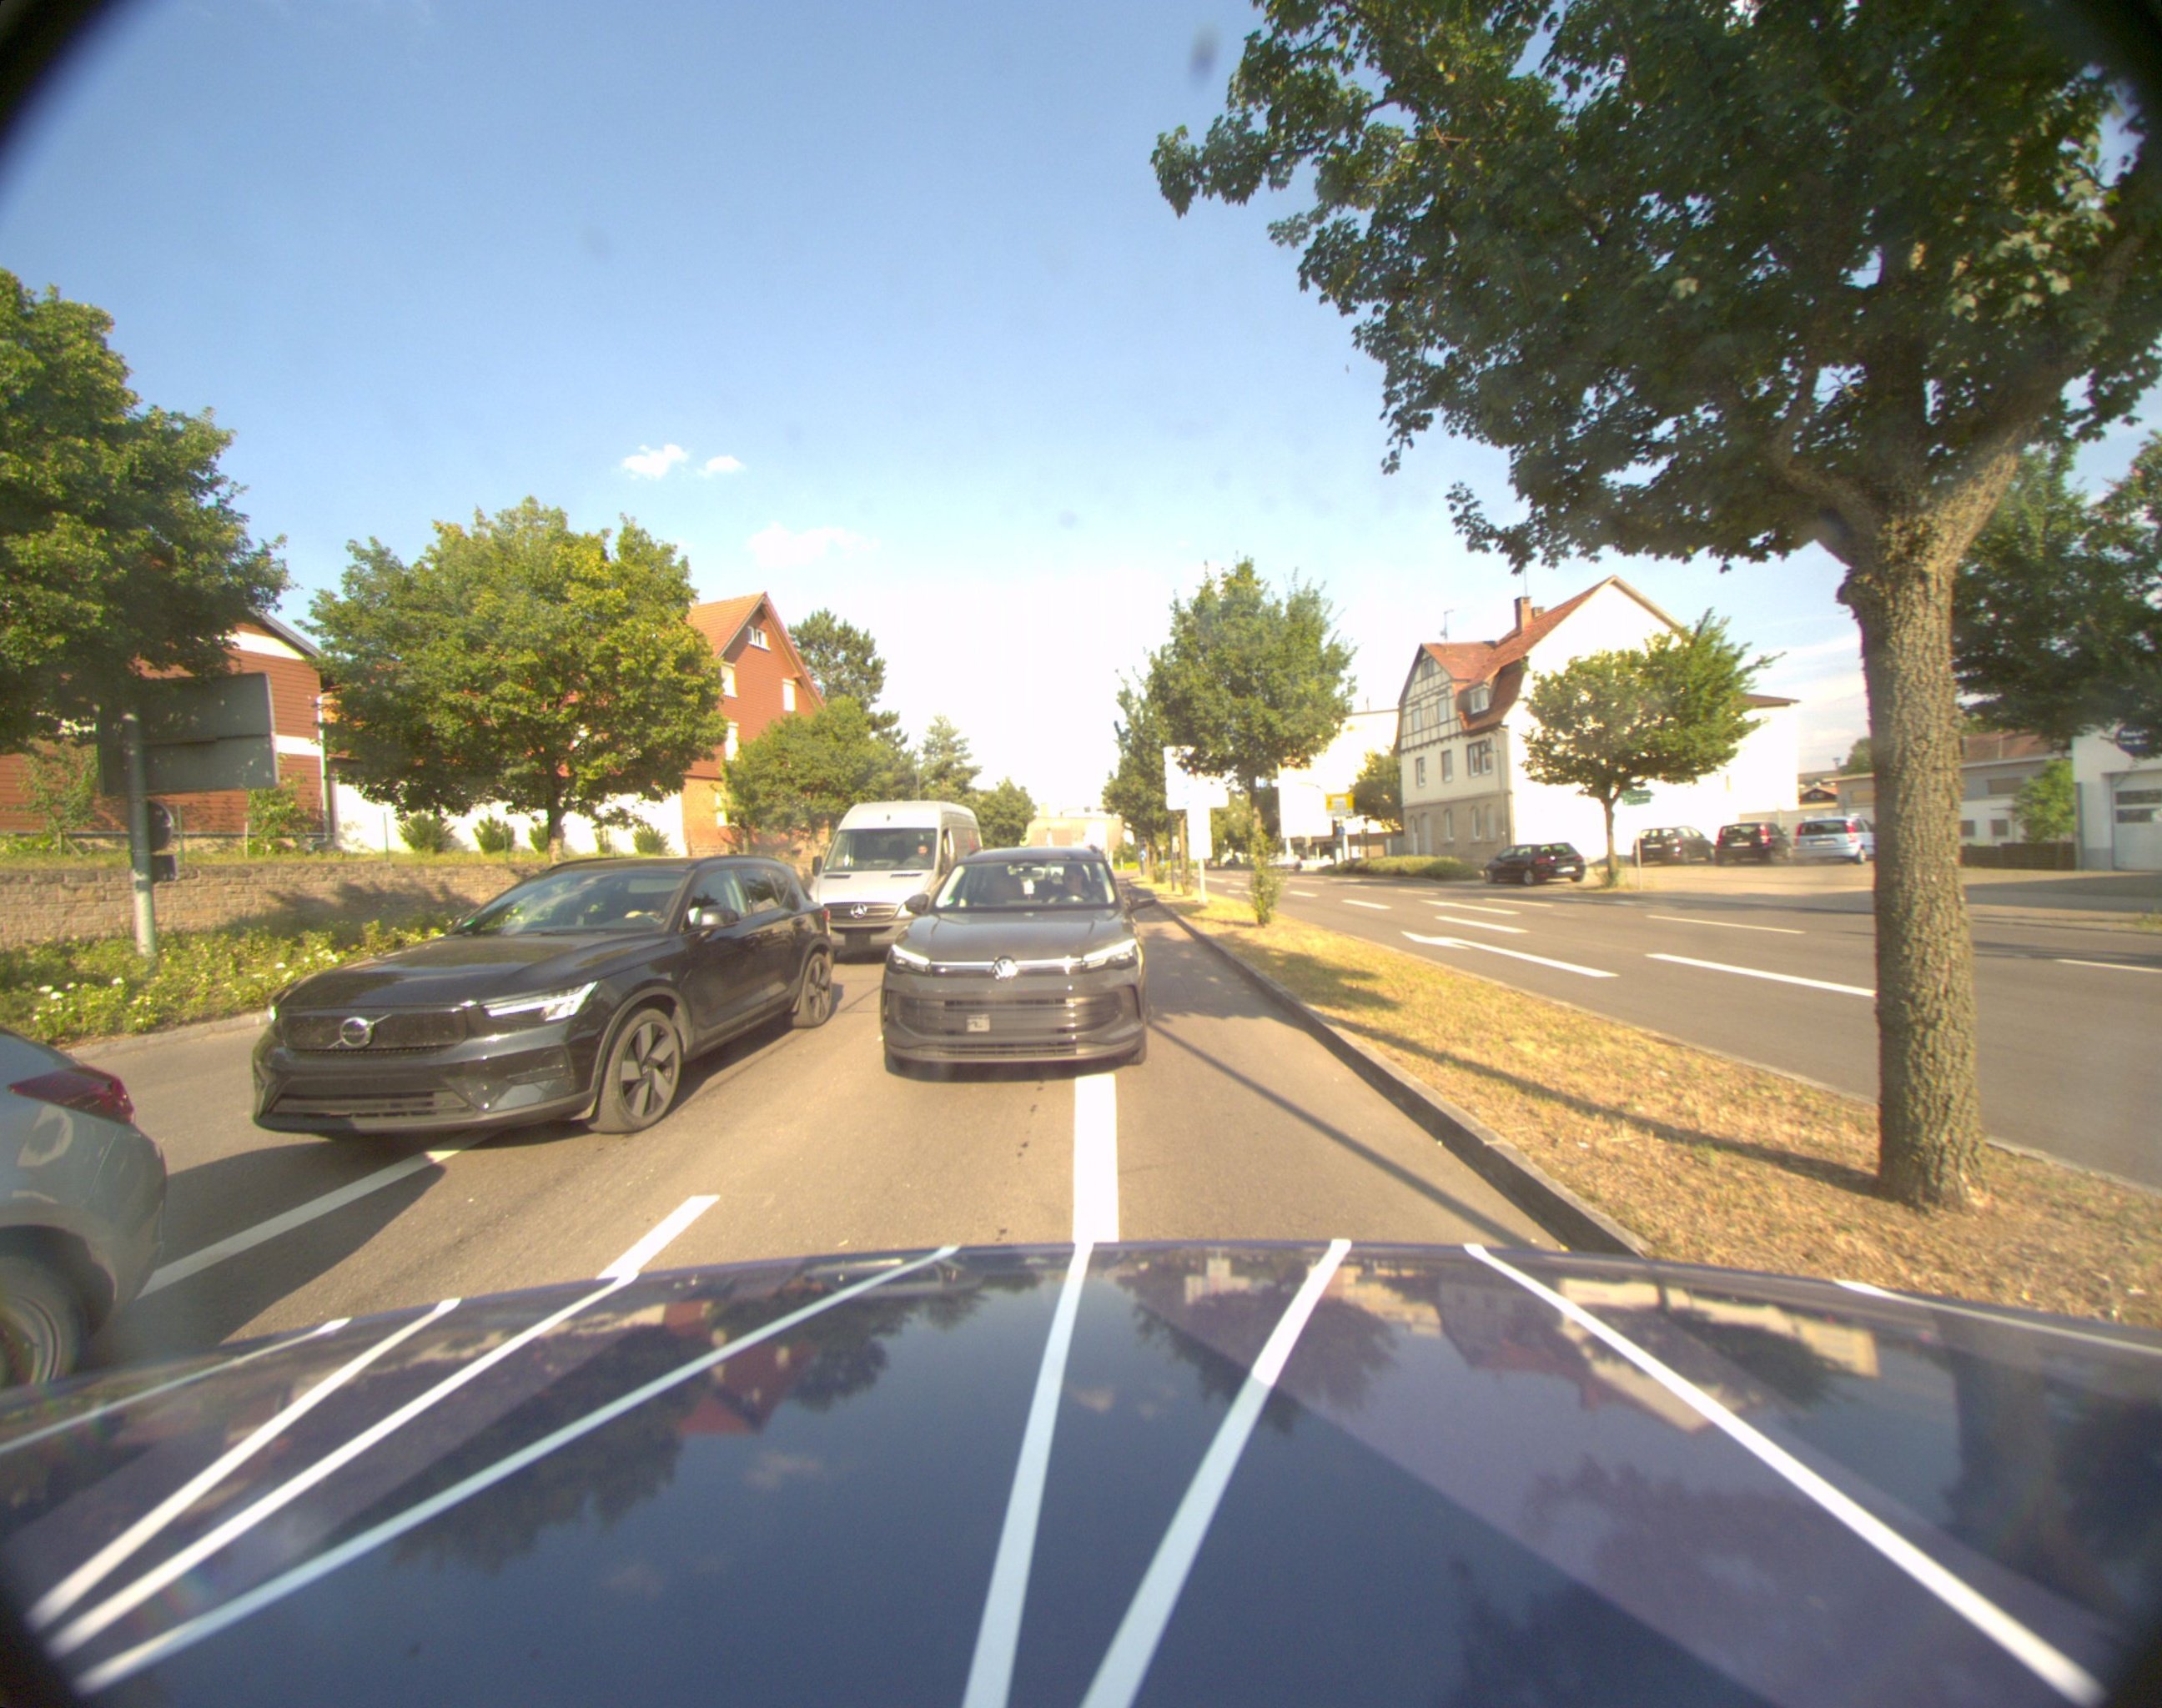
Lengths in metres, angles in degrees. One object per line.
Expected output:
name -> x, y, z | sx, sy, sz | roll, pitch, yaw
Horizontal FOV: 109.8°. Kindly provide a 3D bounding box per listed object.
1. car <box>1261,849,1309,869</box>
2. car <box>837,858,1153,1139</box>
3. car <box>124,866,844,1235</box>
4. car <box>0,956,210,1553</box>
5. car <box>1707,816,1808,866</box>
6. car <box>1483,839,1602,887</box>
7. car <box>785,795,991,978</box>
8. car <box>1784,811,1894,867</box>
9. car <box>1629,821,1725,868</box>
car -> 18.573, 0.470, 69.225 | 3.994, 1.622, 1.861 | -2, 0, 9
car -> -0.451, 0.872, 6.638 | 1.845, 1.600, 4.318 | -1, 0, 2
car -> -3.421, 0.949, 5.652 | 1.845, 1.600, 4.318 | -1, 0, 2
car -> -3.613, 1.059, 0.202 | 1.766, 1.445, 4.318 | -1, 0, 0
car -> 24.660, -0.483, 27.674 | 3.830, 1.493, 1.816 | -5, 0, -35
car -> 16.035, 0.284, 26.637 | 1.818, 1.442, 3.825 | -5, 0, 1
car -> -3.071, 0.450, 13.698 | 1.992, 2.554, 6.046 | -1, 0, 2
car -> 24.882, -0.497, 24.909 | 3.830, 1.493, 1.816 | -5, 0, -35
car -> 23.382, -0.386, 29.771 | 3.830, 1.493, 1.816 | -5, 0, -35
